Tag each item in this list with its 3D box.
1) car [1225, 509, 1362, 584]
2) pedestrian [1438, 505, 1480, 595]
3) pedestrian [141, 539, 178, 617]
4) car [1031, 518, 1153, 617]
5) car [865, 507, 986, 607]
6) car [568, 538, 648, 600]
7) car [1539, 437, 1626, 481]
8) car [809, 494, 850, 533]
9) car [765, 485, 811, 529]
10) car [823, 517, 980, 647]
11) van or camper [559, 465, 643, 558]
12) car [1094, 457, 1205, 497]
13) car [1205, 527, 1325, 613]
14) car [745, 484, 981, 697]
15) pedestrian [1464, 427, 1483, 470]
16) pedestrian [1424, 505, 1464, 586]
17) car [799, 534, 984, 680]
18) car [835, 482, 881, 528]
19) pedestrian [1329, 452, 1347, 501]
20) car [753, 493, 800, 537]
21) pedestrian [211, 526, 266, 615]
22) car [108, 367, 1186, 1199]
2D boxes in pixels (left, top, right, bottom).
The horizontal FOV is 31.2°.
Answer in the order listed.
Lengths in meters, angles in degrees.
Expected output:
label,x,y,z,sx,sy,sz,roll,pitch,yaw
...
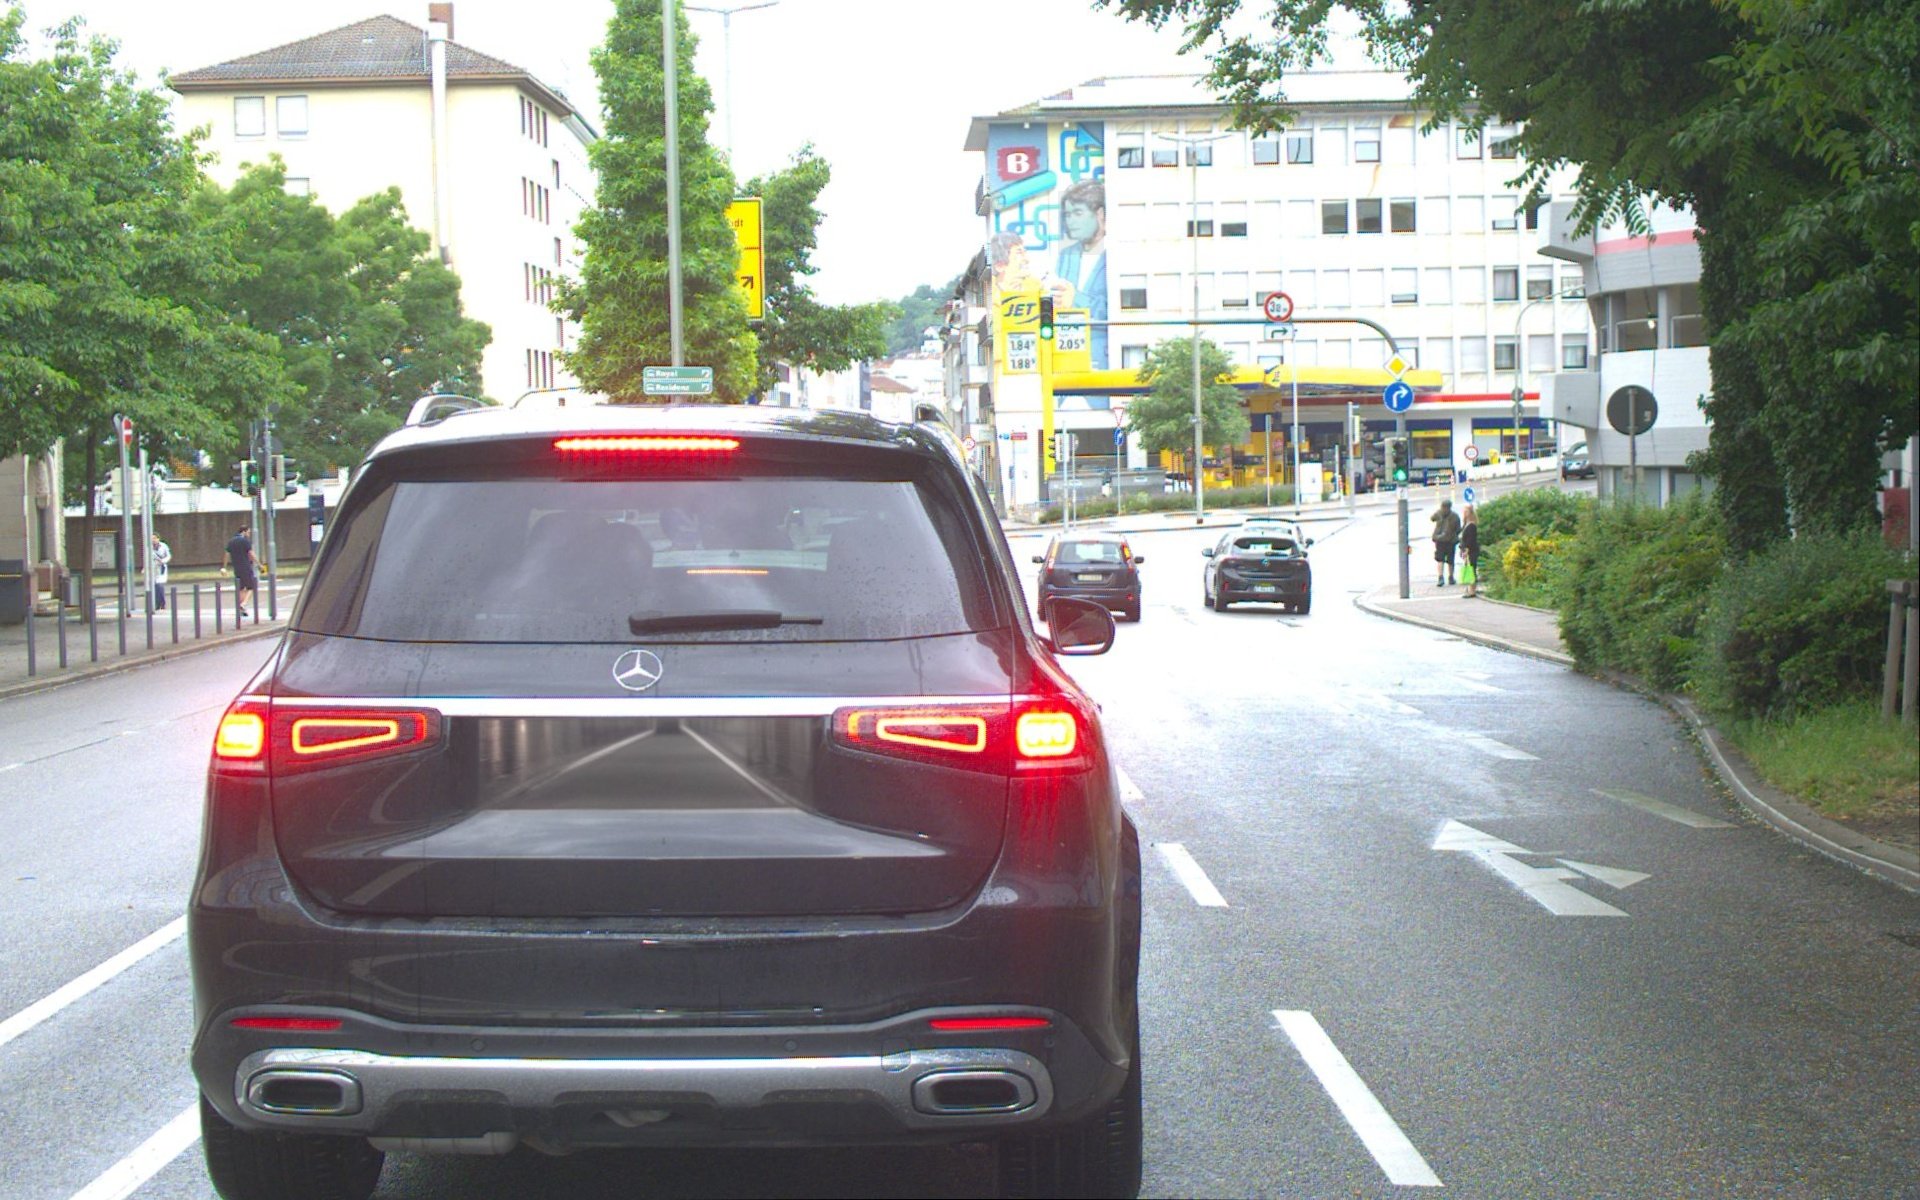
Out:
label,x,y,z,sx,sy,sz,roll,pitch,yaw
car,7.162,-1.124,73.592,1.756,1.543,3.995,1,1,24
pedestrian,9.500,-0.957,65.459,0.646,1.704,0.470,1,0,36
pedestrian,-17.271,-0.472,74.154,0.642,1.660,1.019,1,0,-6
car,2.160,-0.575,57.229,1.796,1.520,4.056,1,2,-1
car,-0.576,-0.705,56.901,1.907,1.581,4.000,1,1,-1
car,-8.861,-0.800,86.793,1.741,1.465,3.883,-3,1,-3
car,25.043,-5.676,138.262,1.997,1.700,3.993,0,2,33
car,-7.047,-4.676,185.614,1.993,2.007,4.000,1,1,0
car,-8.343,-4.507,167.068,1.993,2.007,4.000,1,1,0
car,-0.745,-0.243,44.274,1.907,1.581,4.000,1,1,-1
van or camper,-10.492,-2.572,100.894,2.101,2.573,5.909,-3,1,-4
car,7.063,-4.602,128.522,1.732,1.371,3.998,-4,3,-44
car,5.483,-0.547,62.267,1.946,1.481,4.000,1,1,2
car,-0.853,-0.100,31.447,1.993,1.794,4.000,1,1,-1
pedestrian,20.408,-6.027,136.656,0.526,1.721,0.688,0,2,26
pedestrian,10.155,-1.149,72.121,0.717,1.684,0.456,1,0,-6
car,-0.733,0.054,37.722,1.907,1.496,4.000,1,1,-1
car,-4.689,-4.368,158.399,1.993,2.007,4.000,1,1,0
pedestrian,13.228,-4.308,120.305,0.572,1.691,0.631,1,0,1
car,-7.528,-3.464,140.740,1.905,1.697,4.001,1,1,-3
pedestrian,-13.957,-0.573,66.498,0.946,1.699,0.713,1,0,-17
car,-0.609,0.455,8.428,1.993,1.794,4.000,1,1,-1
